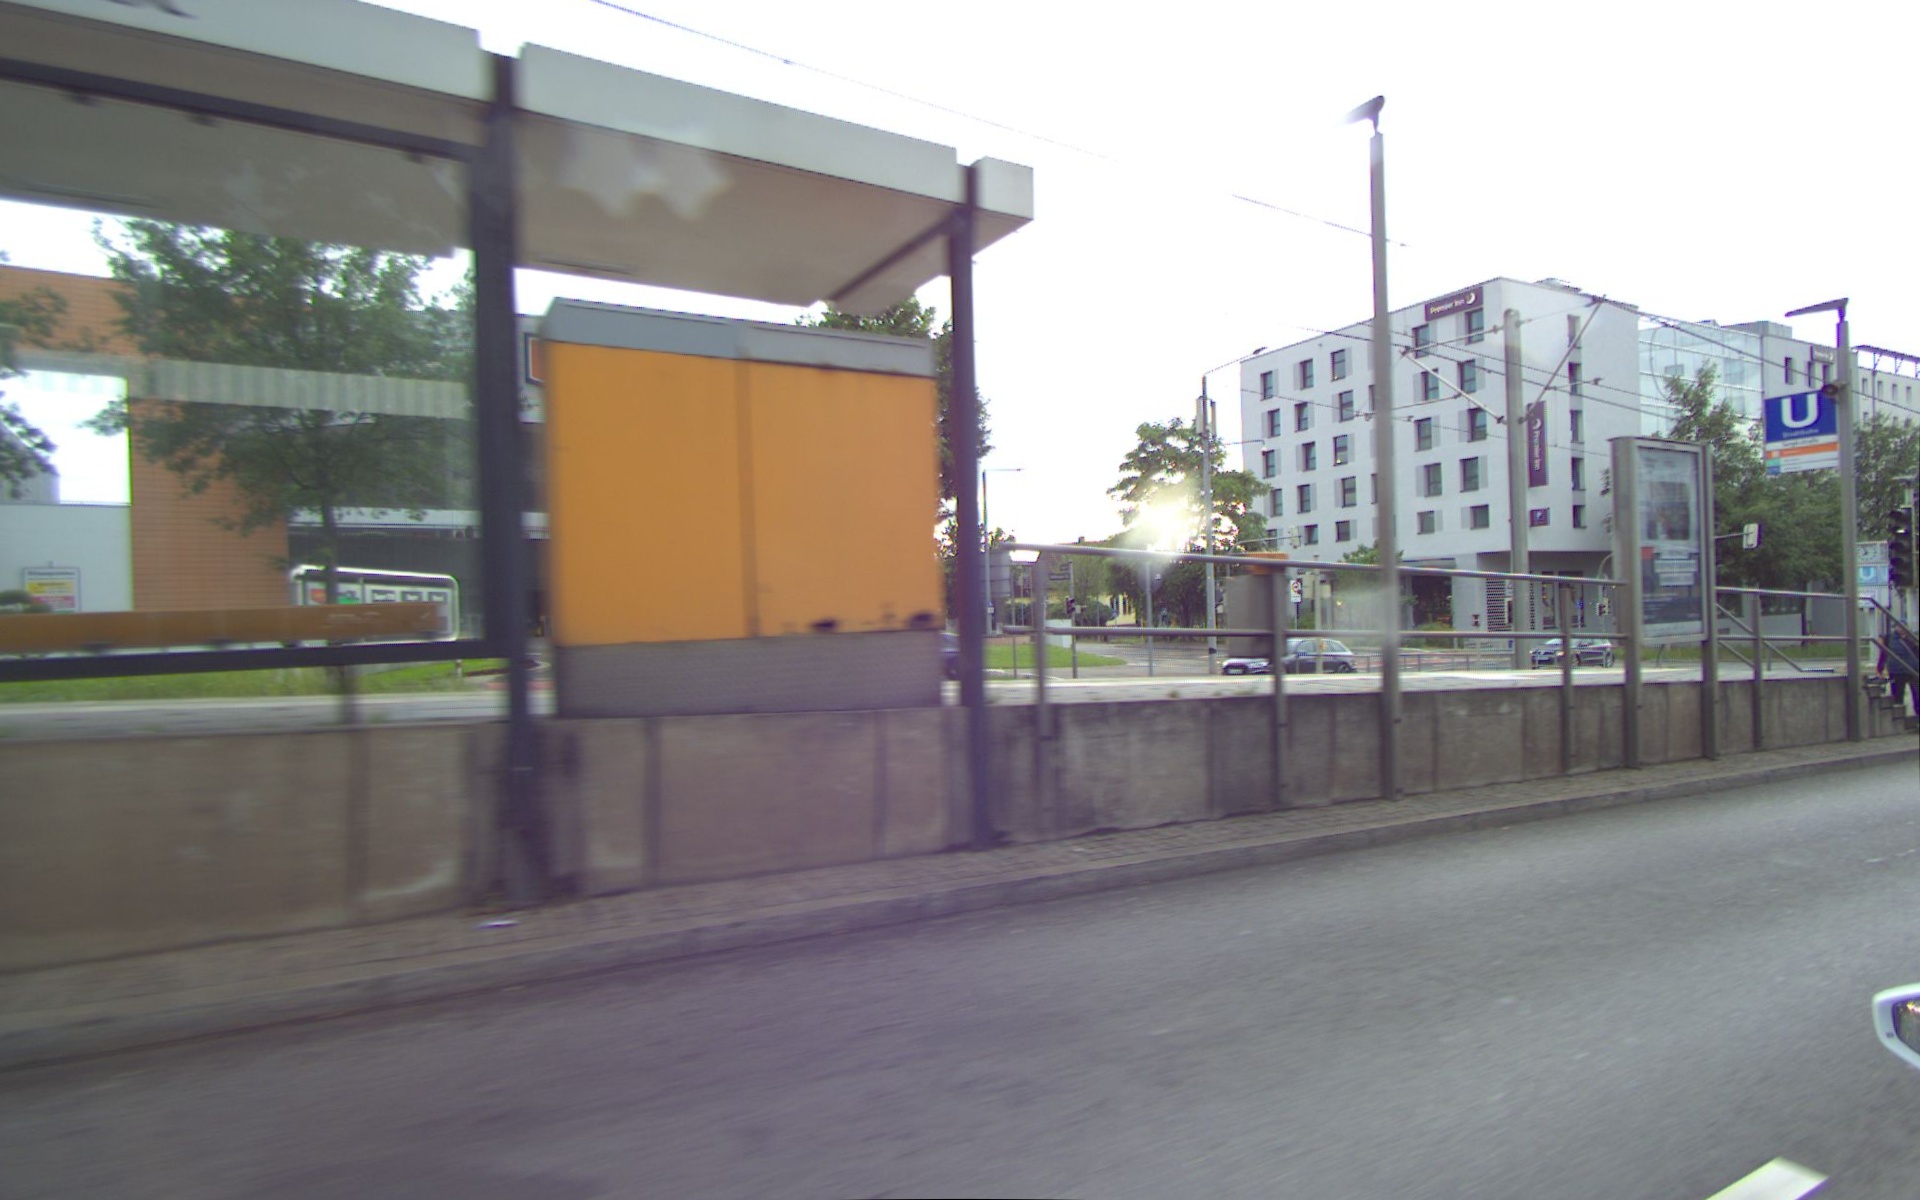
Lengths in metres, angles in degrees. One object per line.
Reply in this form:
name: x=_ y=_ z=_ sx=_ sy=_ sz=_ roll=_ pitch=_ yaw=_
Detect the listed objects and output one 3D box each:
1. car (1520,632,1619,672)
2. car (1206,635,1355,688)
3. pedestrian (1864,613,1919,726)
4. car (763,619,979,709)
car: x=23.301 y=1.937 z=38.395 sx=3.736 sy=1.442 sz=1.720 roll=1 pitch=-1 yaw=-31
car: x=9.464 y=1.759 z=29.598 sx=4.341 sy=1.446 sz=1.843 roll=1 pitch=-3 yaw=-33
pedestrian: x=14.334 y=1.047 z=15.327 sx=0.690 sy=1.672 sz=0.648 roll=1 pitch=0 yaw=32
car: x=-1.941 y=1.337 z=22.123 sx=4.337 sy=1.798 sz=1.984 roll=1 pitch=-1 yaw=-30
